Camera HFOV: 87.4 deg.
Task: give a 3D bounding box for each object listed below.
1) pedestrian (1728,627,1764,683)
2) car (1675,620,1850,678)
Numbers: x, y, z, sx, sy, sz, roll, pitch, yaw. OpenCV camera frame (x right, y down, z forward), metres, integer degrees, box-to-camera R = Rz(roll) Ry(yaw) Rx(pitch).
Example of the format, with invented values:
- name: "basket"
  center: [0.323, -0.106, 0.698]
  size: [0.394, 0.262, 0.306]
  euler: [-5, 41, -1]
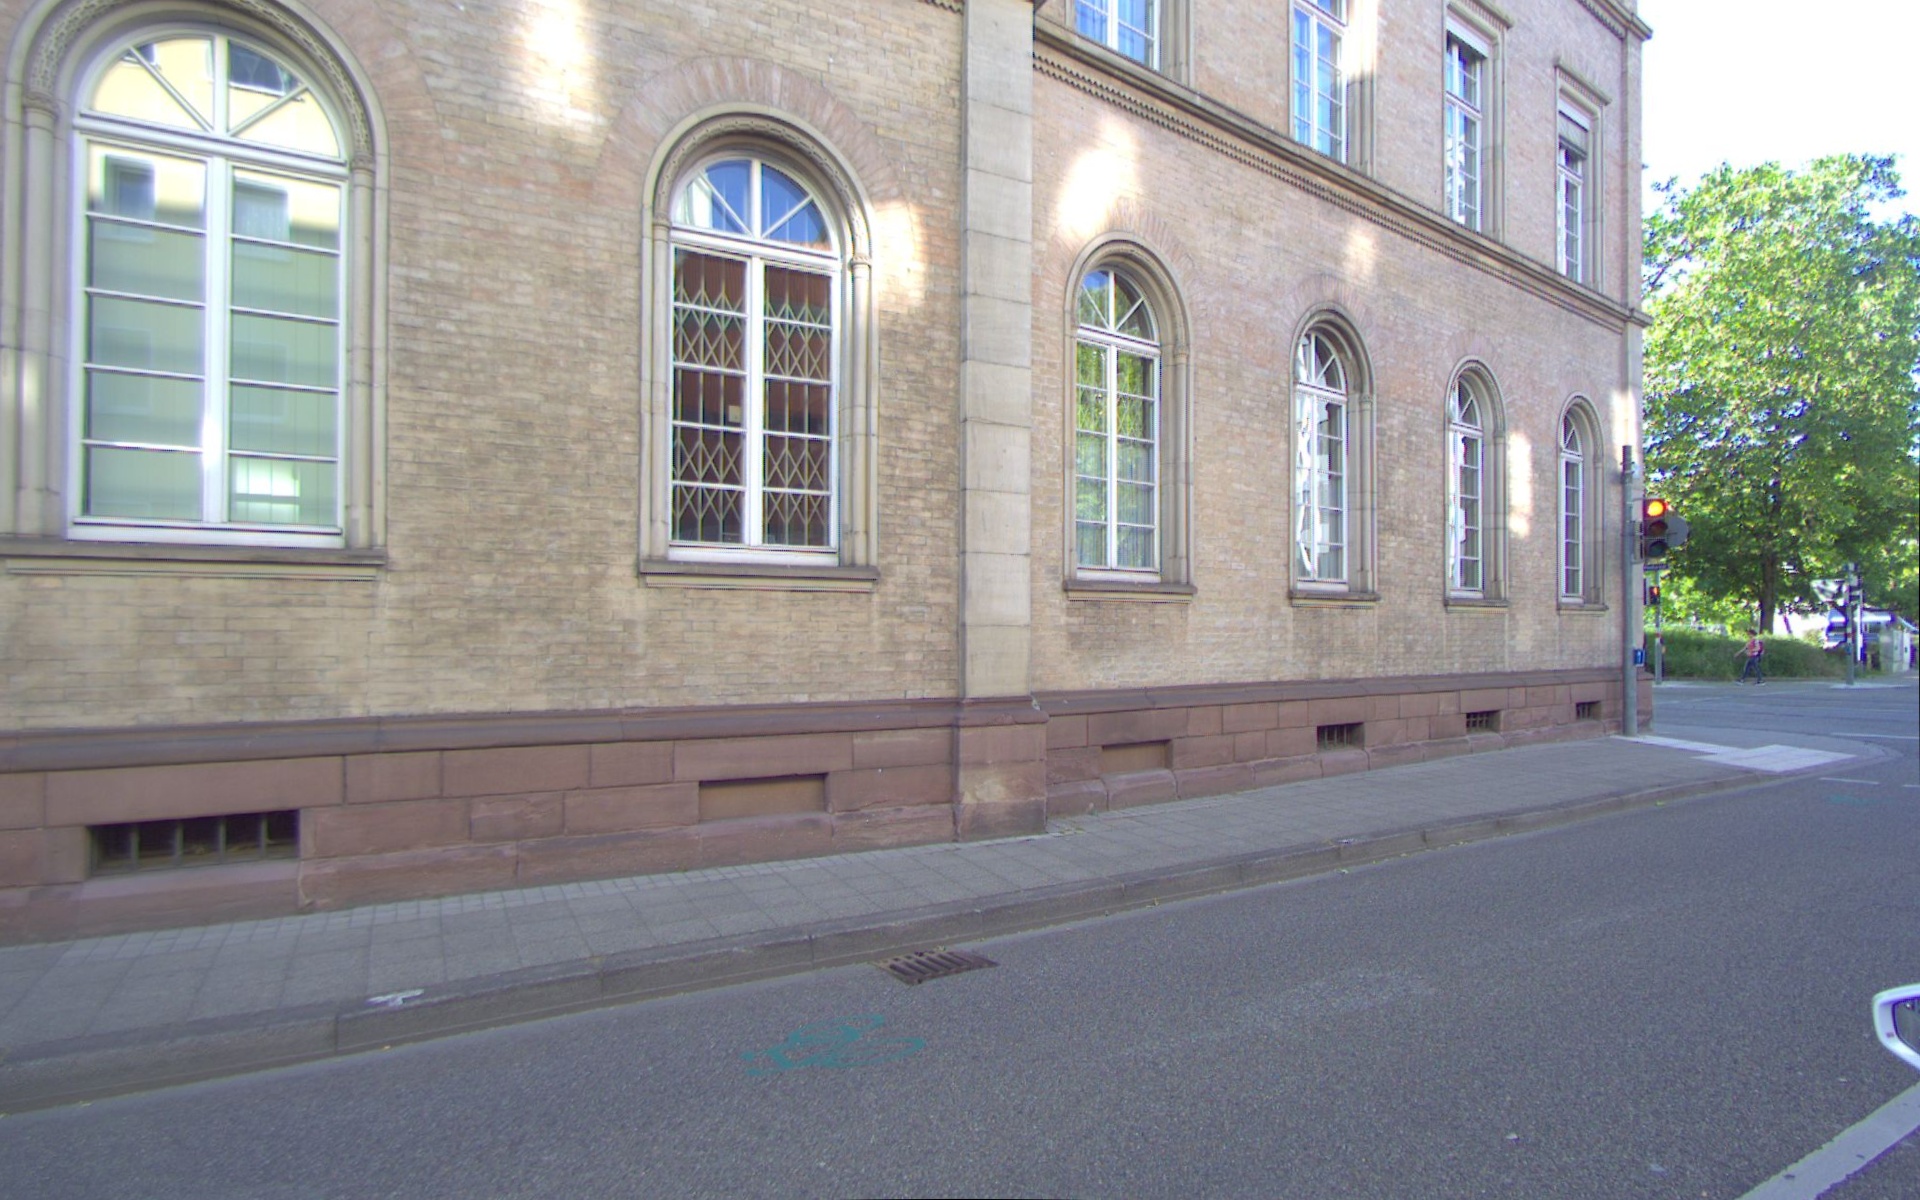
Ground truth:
- name: "pedestrian"
  center: [23.163, 1.619, 29.601]
  size: [0.700, 1.620, 0.617]
  euler: [0, -1, 24]
- name: "car"
  center: [26.338, 1.563, 33.105]
  size: [1.888, 1.801, 4.193]
  euler: [1, -2, -37]
